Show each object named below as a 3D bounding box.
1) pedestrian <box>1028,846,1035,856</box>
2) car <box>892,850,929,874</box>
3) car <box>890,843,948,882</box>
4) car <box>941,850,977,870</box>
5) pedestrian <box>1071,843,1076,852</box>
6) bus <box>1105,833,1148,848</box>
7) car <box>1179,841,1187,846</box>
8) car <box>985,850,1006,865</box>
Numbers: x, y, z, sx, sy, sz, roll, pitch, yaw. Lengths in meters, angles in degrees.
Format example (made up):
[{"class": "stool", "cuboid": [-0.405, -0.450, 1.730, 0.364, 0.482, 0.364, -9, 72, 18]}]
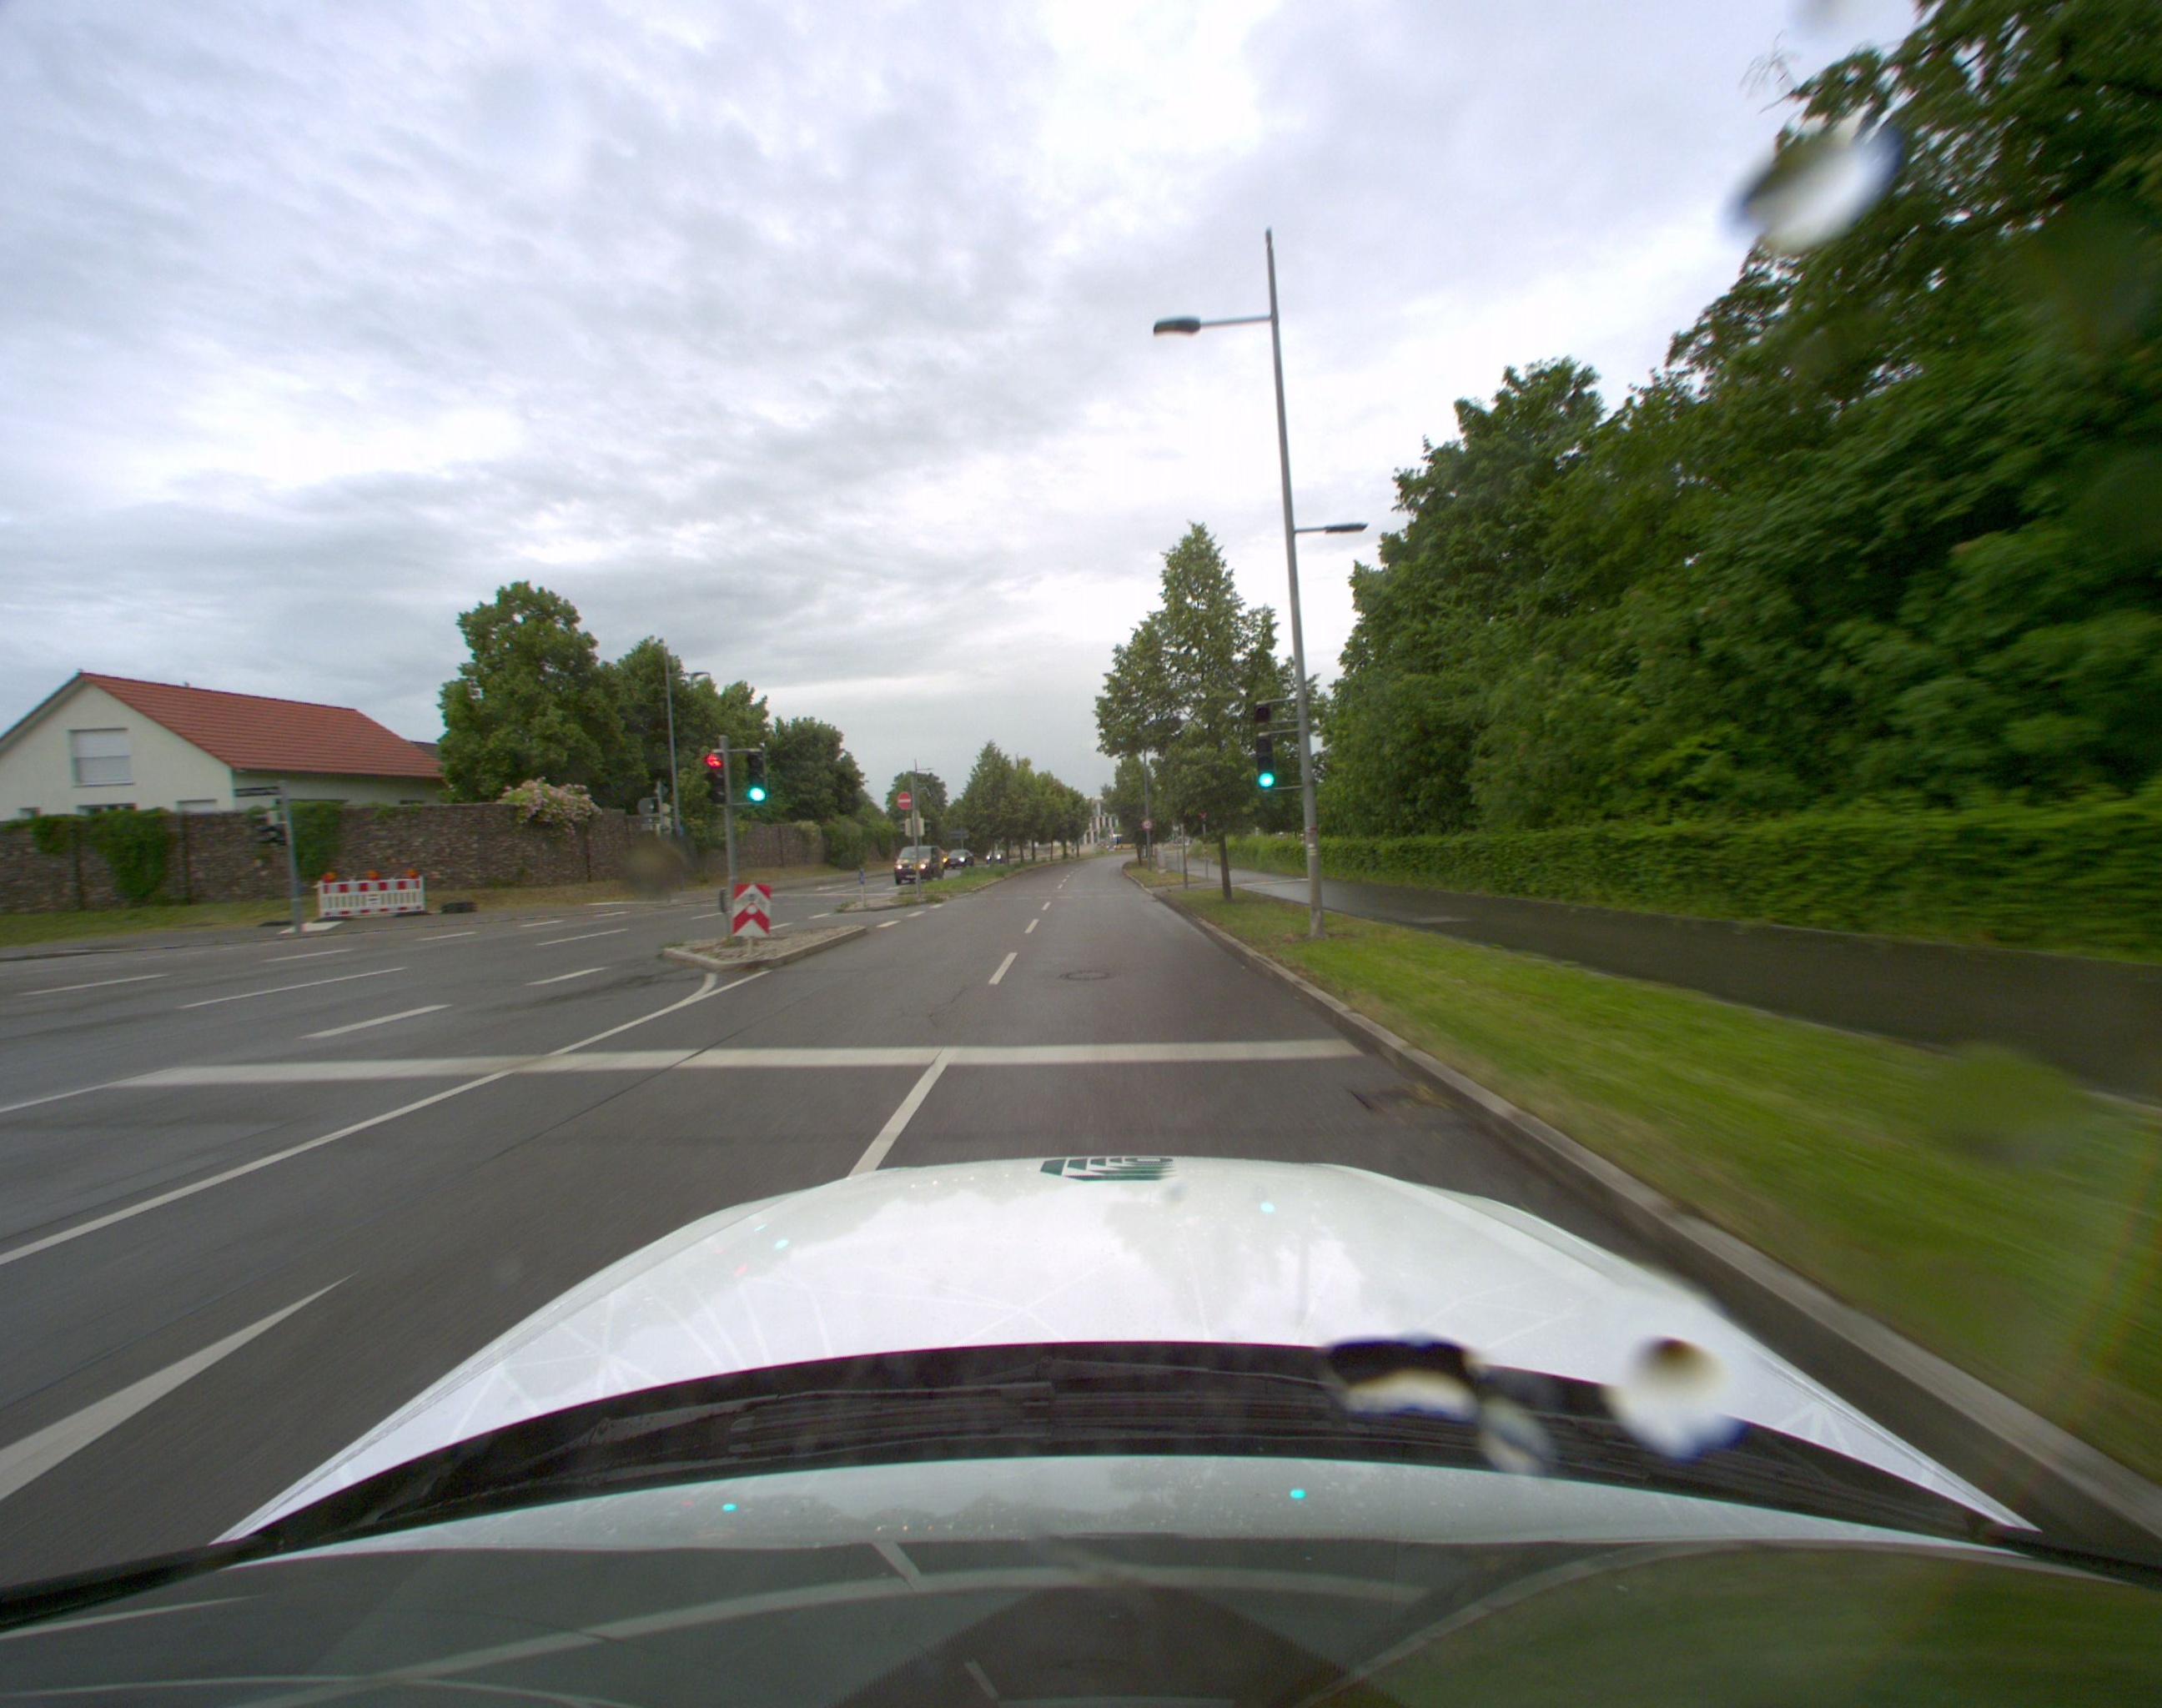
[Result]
[{"class": "pedestrian", "cuboid": [-7.958, -0.419, 131.367, 0.808, 1.621, 0.939, -2, -1, 13]}, {"class": "car", "cuboid": [-11.388, 0.492, 54.570, 1.593, 1.489, 3.999, -1, 1, 0]}, {"class": "car", "cuboid": [-8.631, 0.401, 43.860, 2.006, 1.919, 5.096, -1, 0, 1]}, {"class": "car", "cuboid": [-10.479, 0.468, 70.082, 1.871, 1.595, 4.775, -1, 0, 6]}, {"class": "pedestrian", "cuboid": [-1.370, -1.202, 148.764, 0.832, 1.573, 0.718, -1, -1, -4]}, {"class": "bus", "cuboid": [10.969, -3.093, 192.401, 2.758, 3.357, 18.337, -2, 0, 28]}, {"class": "car", "cuboid": [28.994, -2.997, 230.777, 1.464, 1.494, 2.545, -2, 0, 26]}, {"class": "car", "cuboid": [-9.141, 0.345, 87.105, 1.678, 1.539, 2.920, -1, 1, 5]}]
